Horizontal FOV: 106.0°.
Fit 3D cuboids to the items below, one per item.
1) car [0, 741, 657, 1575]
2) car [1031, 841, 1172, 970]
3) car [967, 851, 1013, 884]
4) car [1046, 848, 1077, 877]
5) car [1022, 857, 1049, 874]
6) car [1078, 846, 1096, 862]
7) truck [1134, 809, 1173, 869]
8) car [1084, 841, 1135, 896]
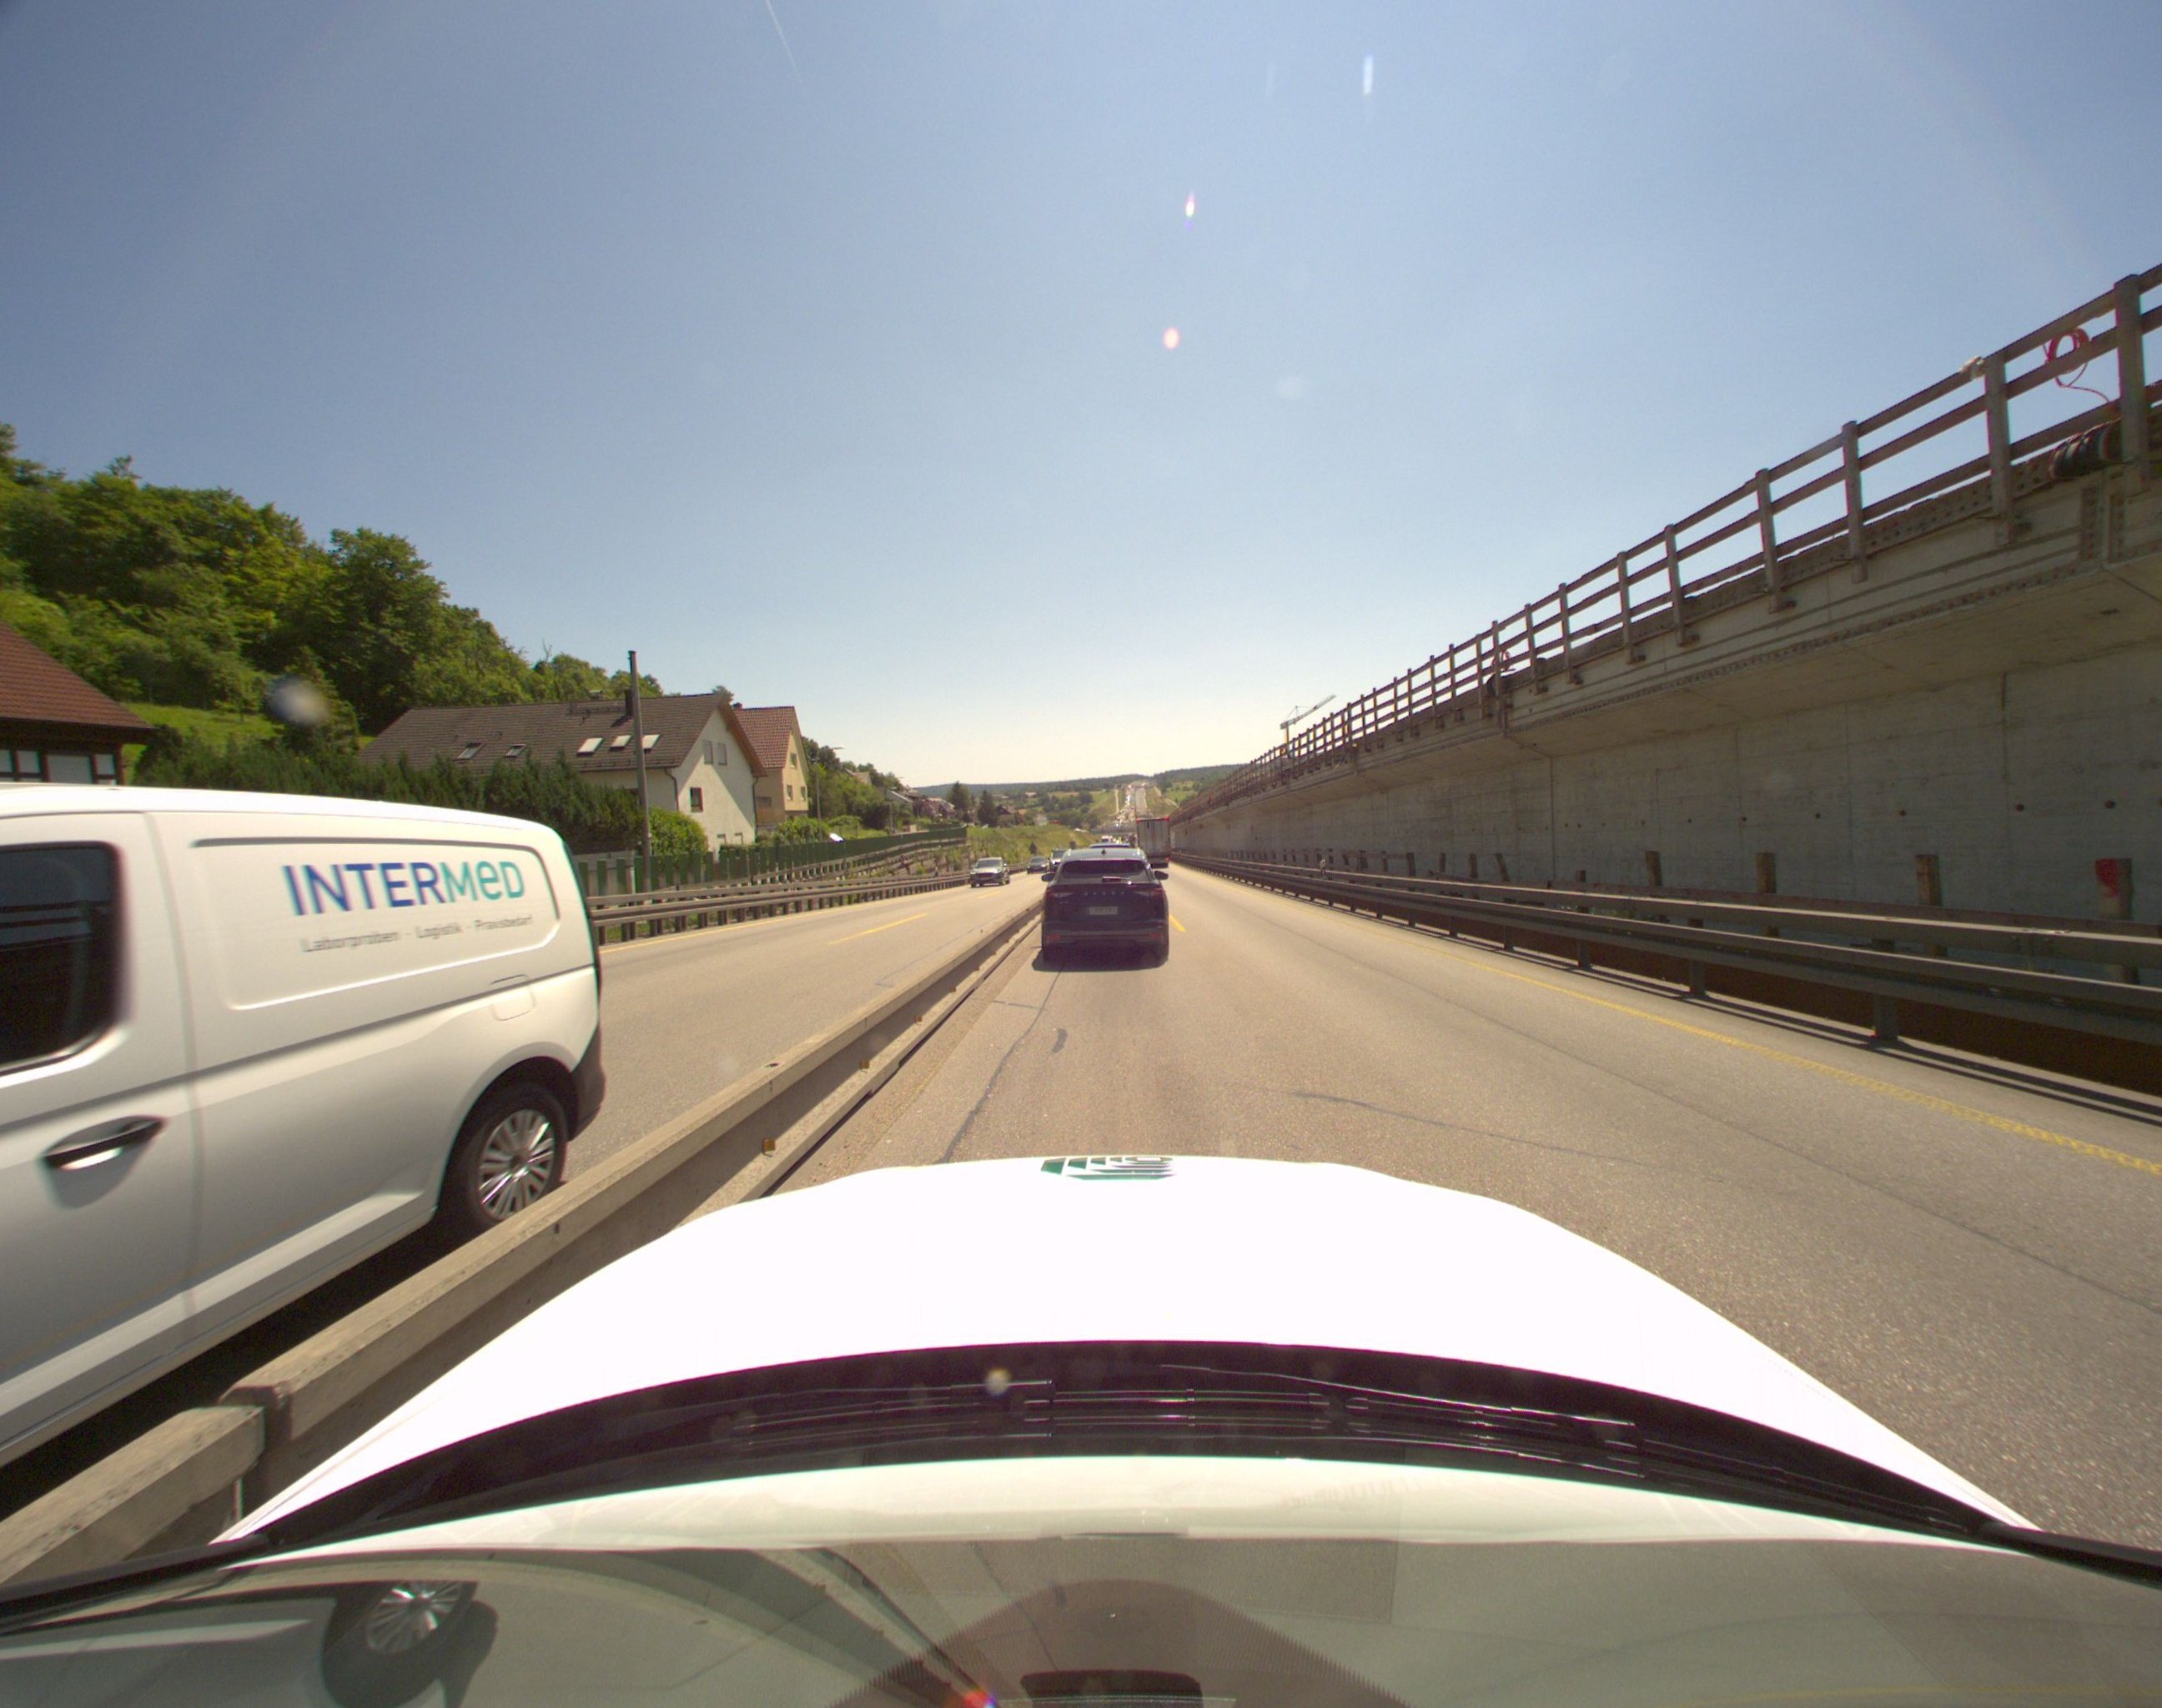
[{"bbox_3d":[-3.164,0.654,2.106,1.803,1.740,4.257,-1,0,1],"label":"car"},{"bbox_3d":[0.347,0.678,12.690,1.776,1.597,3.757,-4,0,2],"label":"car"},{"bbox_3d":[-5.210,0.774,47.266,1.986,1.827,4.510,0,0,2],"label":"car"},{"bbox_3d":[-1.466,0.639,62.750,1.985,2.013,4.972,-3,-1,3],"label":"car"},{"bbox_3d":[-4.055,0.989,73.126,1.986,1.442,4.366,0,0,2],"label":"car"},{"bbox_3d":[0.839,0.047,105.810,2.149,1.906,5.329,-2,0,2],"label":"car"},{"bbox_3d":[6.101,-1.123,70.496,2.834,4.615,11.822,-3,-1,4],"label":"truck"},{"bbox_3d":[1.043,0.513,30.626,1.743,1.895,3.756,-1,0,1],"label":"car"}]
